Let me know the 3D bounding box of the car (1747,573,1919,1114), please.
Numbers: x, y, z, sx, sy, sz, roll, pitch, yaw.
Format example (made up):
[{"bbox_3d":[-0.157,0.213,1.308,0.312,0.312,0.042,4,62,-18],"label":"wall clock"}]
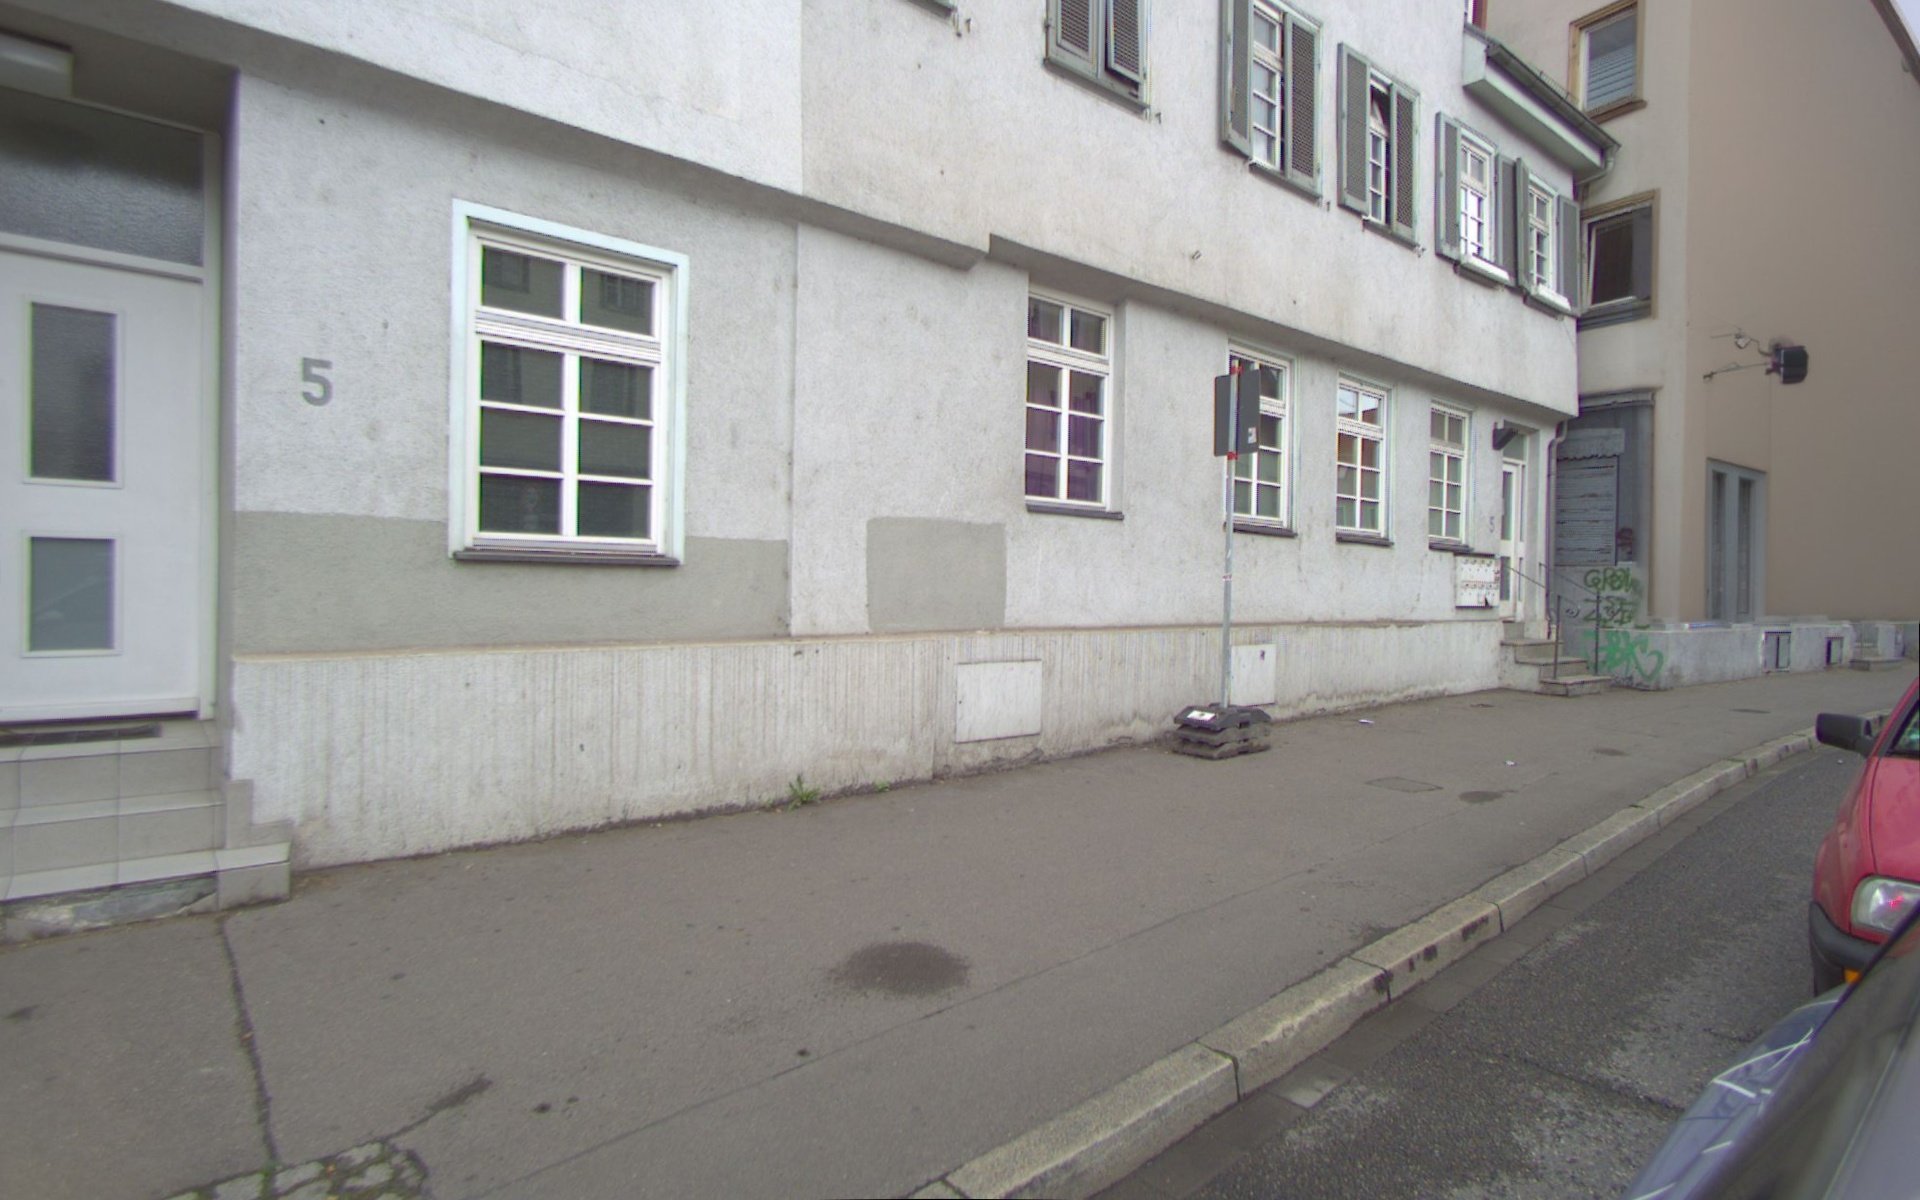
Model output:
[{"bbox_3d":[4.428,0.626,3.560,3.928,1.443,1.792,-2,2,-39],"label":"car"}]
